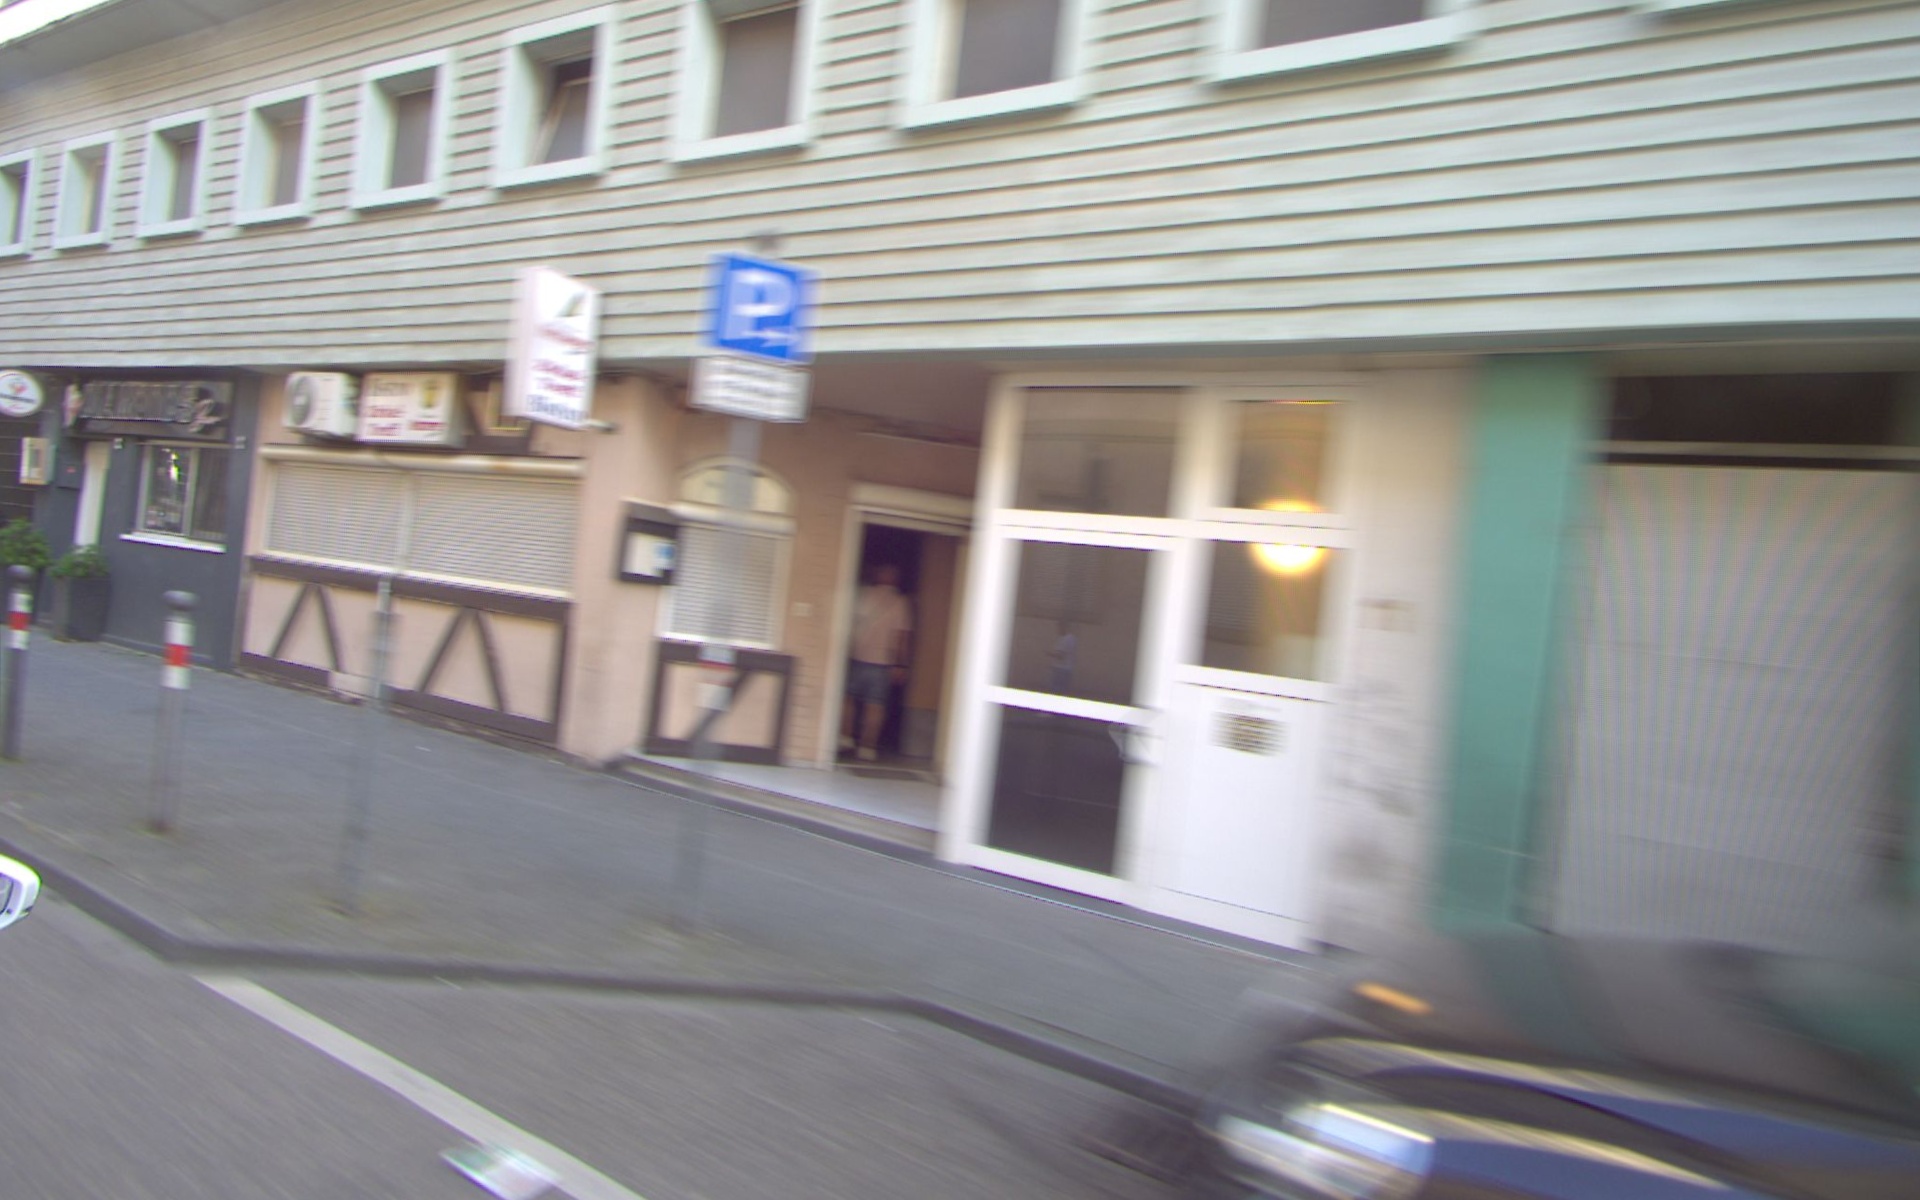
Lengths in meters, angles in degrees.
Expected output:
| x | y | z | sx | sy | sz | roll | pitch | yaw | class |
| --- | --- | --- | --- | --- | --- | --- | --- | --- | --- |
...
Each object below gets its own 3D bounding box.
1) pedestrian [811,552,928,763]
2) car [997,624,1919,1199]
| x | y | z | sx | sy | sz | roll | pitch | yaw | class |
| --- | --- | --- | --- | --- | --- | --- | --- | --- | --- |
| -0.805 | 0.503 | 8.879 | 0.765 | 1.738 | 0.488 | 7 | 0 | -16 | pedestrian |
| 2.405 | 1.091 | 1.582 | 4.293 | 1.507 | 1.888 | 7 | -1 | 29 | car |
